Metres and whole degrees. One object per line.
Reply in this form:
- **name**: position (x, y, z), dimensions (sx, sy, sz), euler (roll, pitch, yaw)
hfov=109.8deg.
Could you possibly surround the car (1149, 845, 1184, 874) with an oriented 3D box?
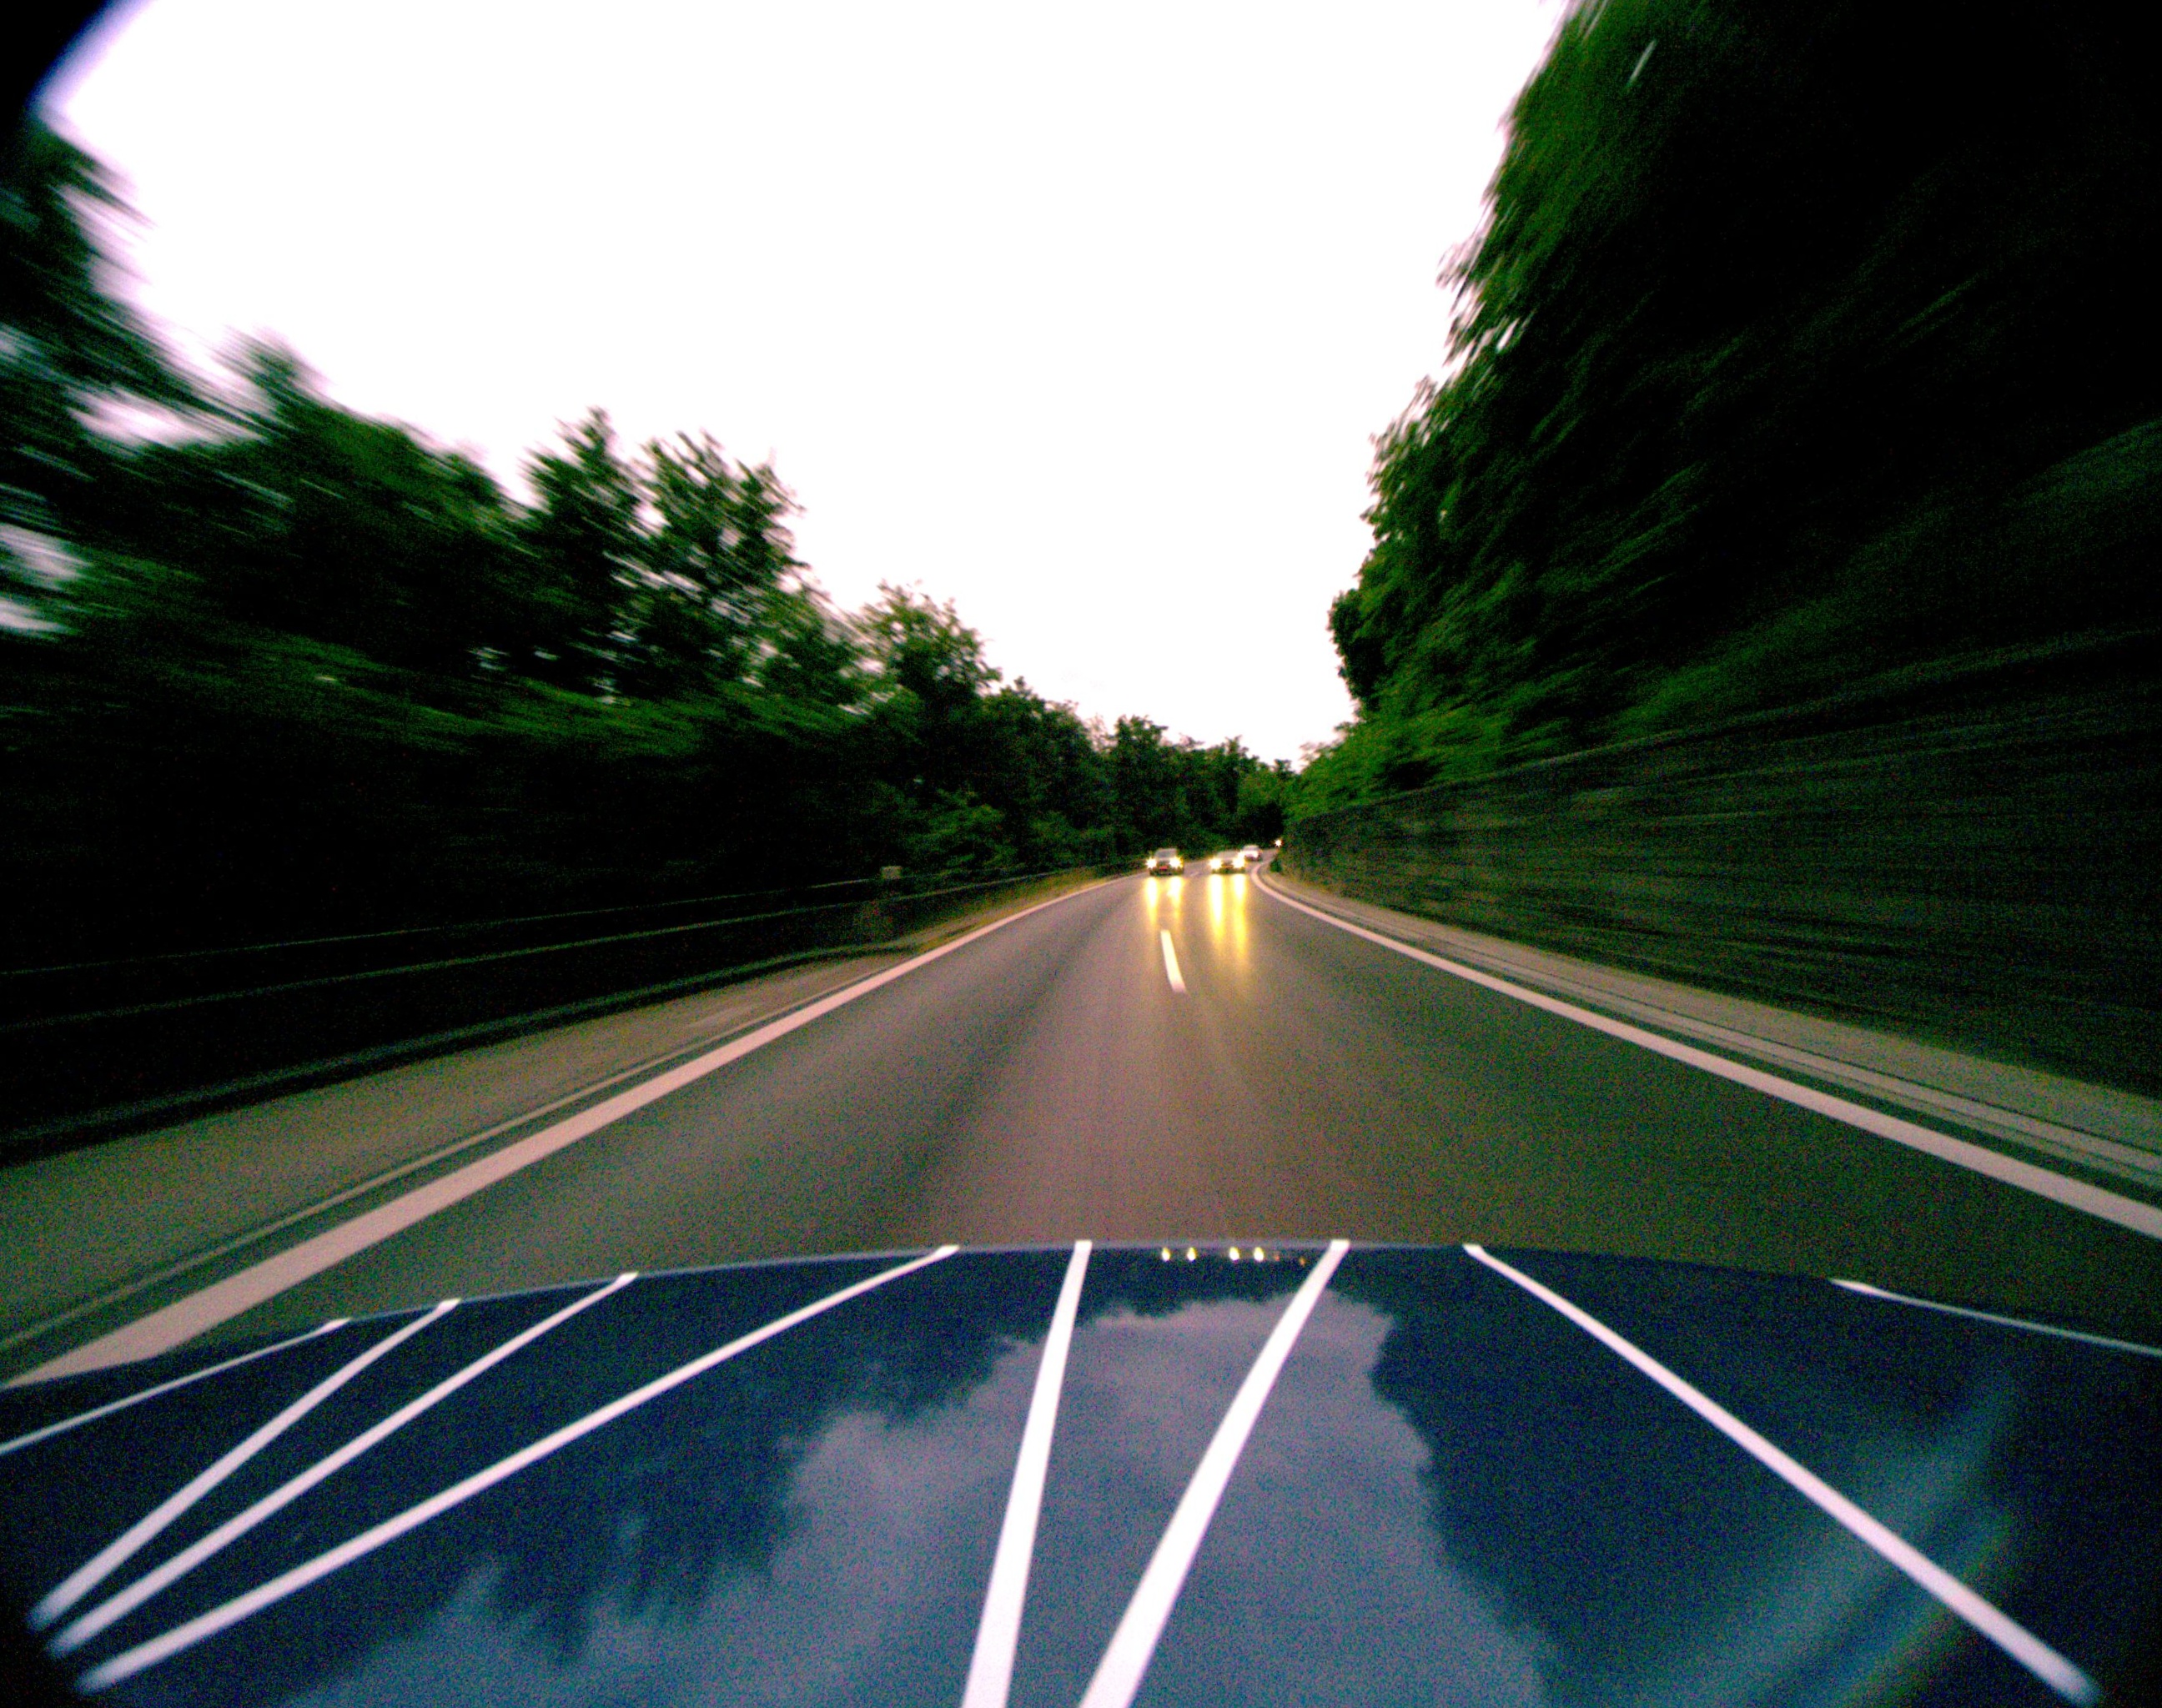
- **car**: position (5.415, 0.319, 47.990), dimensions (1.997, 1.630, 4.002), euler (-4, 0, 7)

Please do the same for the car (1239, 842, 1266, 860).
- **car**: position (16.573, -0.338, 73.337), dimensions (1.996, 1.499, 4.005), euler (-4, 0, 19)

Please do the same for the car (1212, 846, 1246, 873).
- **car**: position (9.159, 0.294, 47.187), dimensions (1.997, 1.499, 4.002), euler (-1, 2, 10)

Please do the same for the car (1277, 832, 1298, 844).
- **car**: position (30.610, -2.439, 112.797), dimensions (1.995, 1.608, 4.006), euler (-3, 1, 30)
